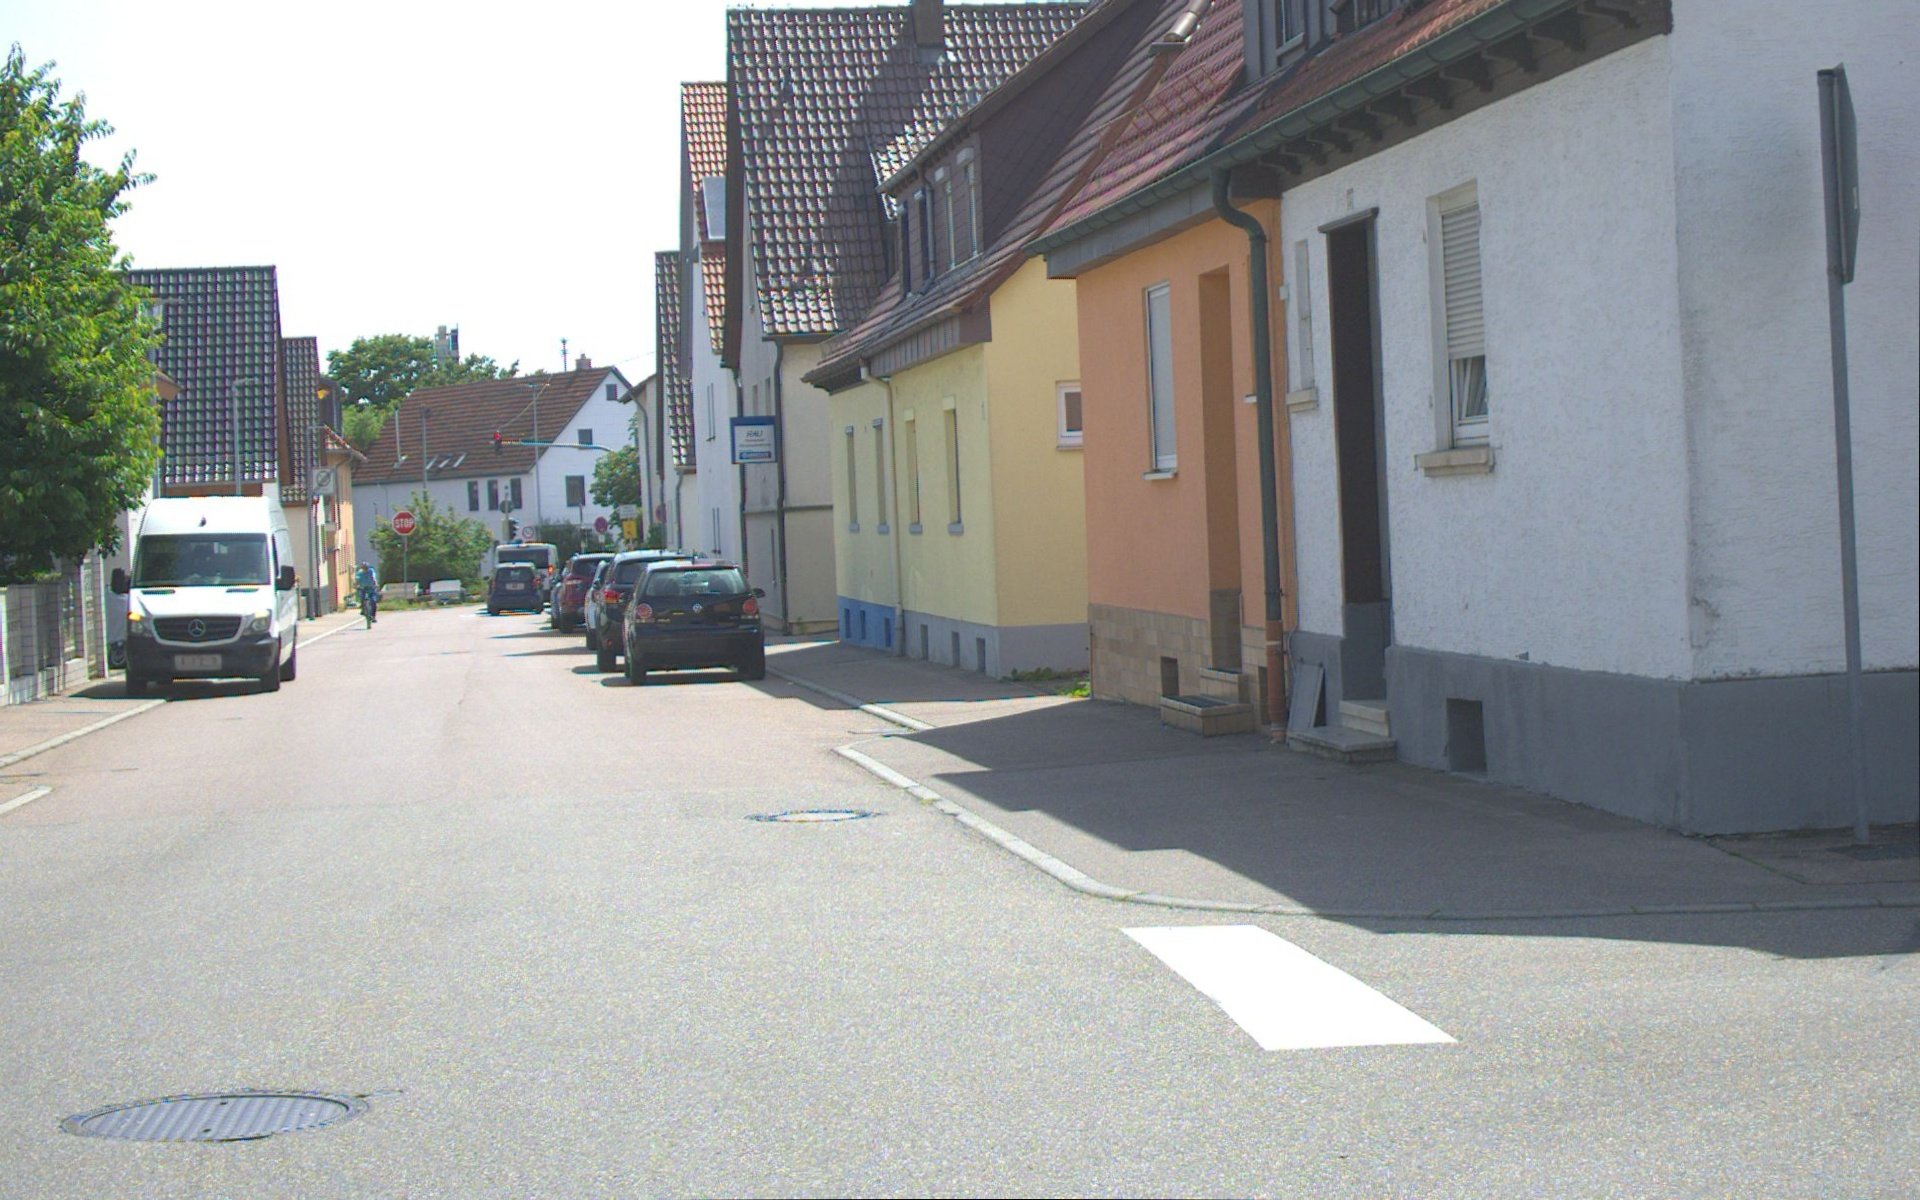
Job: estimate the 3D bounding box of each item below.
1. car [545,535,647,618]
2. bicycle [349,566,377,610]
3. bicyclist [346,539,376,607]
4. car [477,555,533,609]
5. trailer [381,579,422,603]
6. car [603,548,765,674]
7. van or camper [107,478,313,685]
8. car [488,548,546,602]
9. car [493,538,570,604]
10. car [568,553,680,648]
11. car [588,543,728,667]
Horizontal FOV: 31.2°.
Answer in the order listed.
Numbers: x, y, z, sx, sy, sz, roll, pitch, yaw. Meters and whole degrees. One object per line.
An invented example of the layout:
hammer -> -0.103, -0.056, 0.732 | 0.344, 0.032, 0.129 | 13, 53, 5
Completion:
car -> -7.925, -0.521, 74.574 | 1.875, 1.694, 4.184 | -2, 1, -10
bicycle -> -16.071, -0.325, 92.540 | 0.670, 1.128, 2.190 | -2, 1, -9
bicyclist -> -16.121, -0.739, 92.583 | 0.713, 1.792, 0.942 | -2, 1, -9
car -> -14.512, -0.577, 109.796 | 1.515, 1.619, 3.185 | -3, 1, -4
trailer -> -21.810, -0.344, 134.215 | 1.501, 0.924, 1.012 | -1, 1, -6
car -> -3.436, 0.103, 42.255 | 1.610, 1.426, 3.755 | -2, 1, -10
van or camper -> -10.150, -0.279, 47.034 | 2.184, 2.563, 6.809 | -2, 1, -8
car -> -13.553, -0.786, 105.242 | 1.515, 1.561, 3.185 | -2, 1, -4
car -> -14.831, -1.012, 119.268 | 2.129, 2.151, 4.737 | -3, 1, -2
car -> -5.850, -0.016, 59.591 | 1.673, 1.553, 3.041 | -2, 1, -10
car -> -4.232, 0.035, 47.758 | 1.728, 1.594, 4.254 | -2, 1, -7
